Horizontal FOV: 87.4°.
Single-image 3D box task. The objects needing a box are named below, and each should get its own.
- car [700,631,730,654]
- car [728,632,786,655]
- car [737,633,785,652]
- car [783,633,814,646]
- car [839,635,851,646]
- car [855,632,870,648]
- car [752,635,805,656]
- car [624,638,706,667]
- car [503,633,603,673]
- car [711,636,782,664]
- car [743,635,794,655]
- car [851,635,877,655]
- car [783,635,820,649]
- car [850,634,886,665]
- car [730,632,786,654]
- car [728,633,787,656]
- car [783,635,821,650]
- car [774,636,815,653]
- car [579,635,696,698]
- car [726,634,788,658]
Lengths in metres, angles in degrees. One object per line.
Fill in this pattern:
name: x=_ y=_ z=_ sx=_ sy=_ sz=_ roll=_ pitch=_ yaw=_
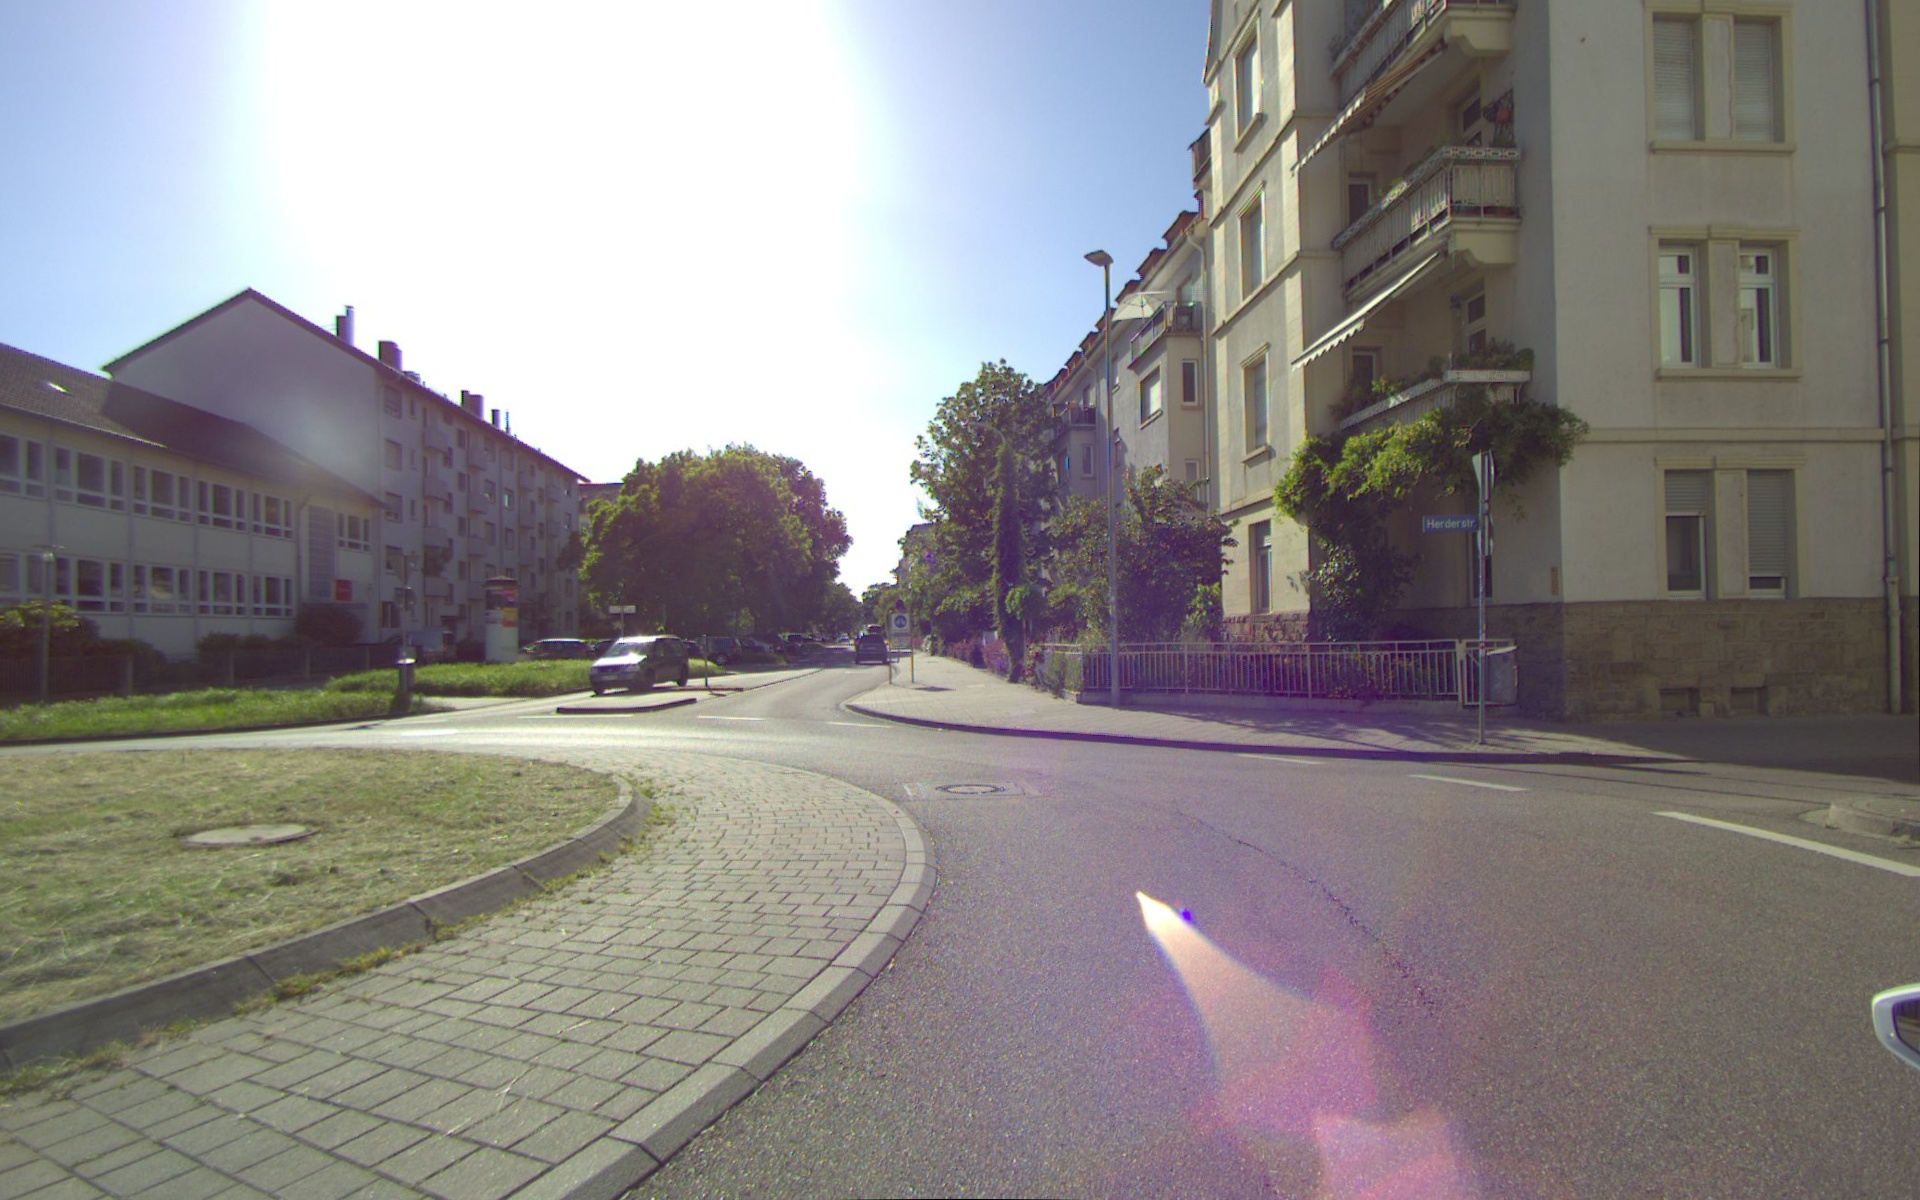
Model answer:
car: x=-17.309 y=2.995 z=71.017 sx=1.818 sy=1.542 sz=3.993 roll=-1 pitch=-2 yaw=-11
car: x=-14.297 y=3.082 z=70.988 sx=3.928 sy=1.506 sz=1.848 roll=-1 pitch=-2 yaw=-11
car: x=-17.061 y=3.654 z=86.240 sx=3.928 sy=1.506 sz=1.848 roll=-1 pitch=-2 yaw=-11
car: x=-20.427 y=5.022 z=127.025 sx=3.928 sy=1.506 sz=1.848 roll=-1 pitch=-2 yaw=-11
car: x=-19.102 y=6.758 z=167.618 sx=1.816 sy=1.694 sz=3.998 roll=-1 pitch=-2 yaw=-4
car: x=-12.656 y=5.189 z=130.836 sx=1.816 sy=1.929 sz=3.998 roll=-1 pitch=-2 yaw=-4
car: x=-13.951 y=3.482 z=77.268 sx=3.928 sy=1.506 sz=1.848 roll=-1 pitch=-2 yaw=-11
car: x=-16.367 y=2.913 z=55.918 sx=3.920 sy=1.483 sz=2.001 roll=-1 pitch=-2 yaw=2
car: x=-19.197 y=2.497 z=47.496 sx=3.920 sy=1.795 sz=2.001 roll=-1 pitch=-2 yaw=2
car: x=-12.408 y=2.897 z=58.592 sx=3.928 sy=1.506 sz=1.848 roll=-1 pitch=-2 yaw=-11
car: x=-15.307 y=3.560 z=80.440 sx=3.928 sy=1.506 sz=1.848 roll=-1 pitch=-2 yaw=-11
car: x=-7.060 y=3.282 z=74.126 sx=1.816 sy=1.398 sz=3.998 roll=-1 pitch=-2 yaw=-4
car: x=-17.571 y=4.648 z=111.373 sx=3.928 sy=1.506 sz=1.848 roll=-1 pitch=-2 yaw=-11
car: x=-4.972 y=2.656 z=54.677 sx=1.816 sy=1.559 sz=3.998 roll=-1 pitch=-2 yaw=-4
car: x=-14.668 y=3.115 z=73.155 sx=3.928 sy=1.506 sz=1.848 roll=-1 pitch=-2 yaw=-11
car: x=-13.857 y=3.050 z=68.897 sx=3.928 sy=1.506 sz=1.848 roll=-1 pitch=-2 yaw=-11
car: x=-17.081 y=4.606 z=108.570 sx=3.928 sy=1.506 sz=1.848 roll=-1 pitch=-2 yaw=-11
car: x=-16.097 y=4.315 z=97.828 sx=3.928 sy=1.506 sz=1.848 roll=-1 pitch=-2 yaw=-11
car: x=-9.854 y=1.988 z=31.098 sx=1.843 sy=1.718 sz=4.276 roll=-2 pitch=-1 yaw=6
car: x=-13.311 y=3.007 z=66.160 sx=3.928 sy=1.506 sz=1.848 roll=-1 pitch=-2 yaw=-11
